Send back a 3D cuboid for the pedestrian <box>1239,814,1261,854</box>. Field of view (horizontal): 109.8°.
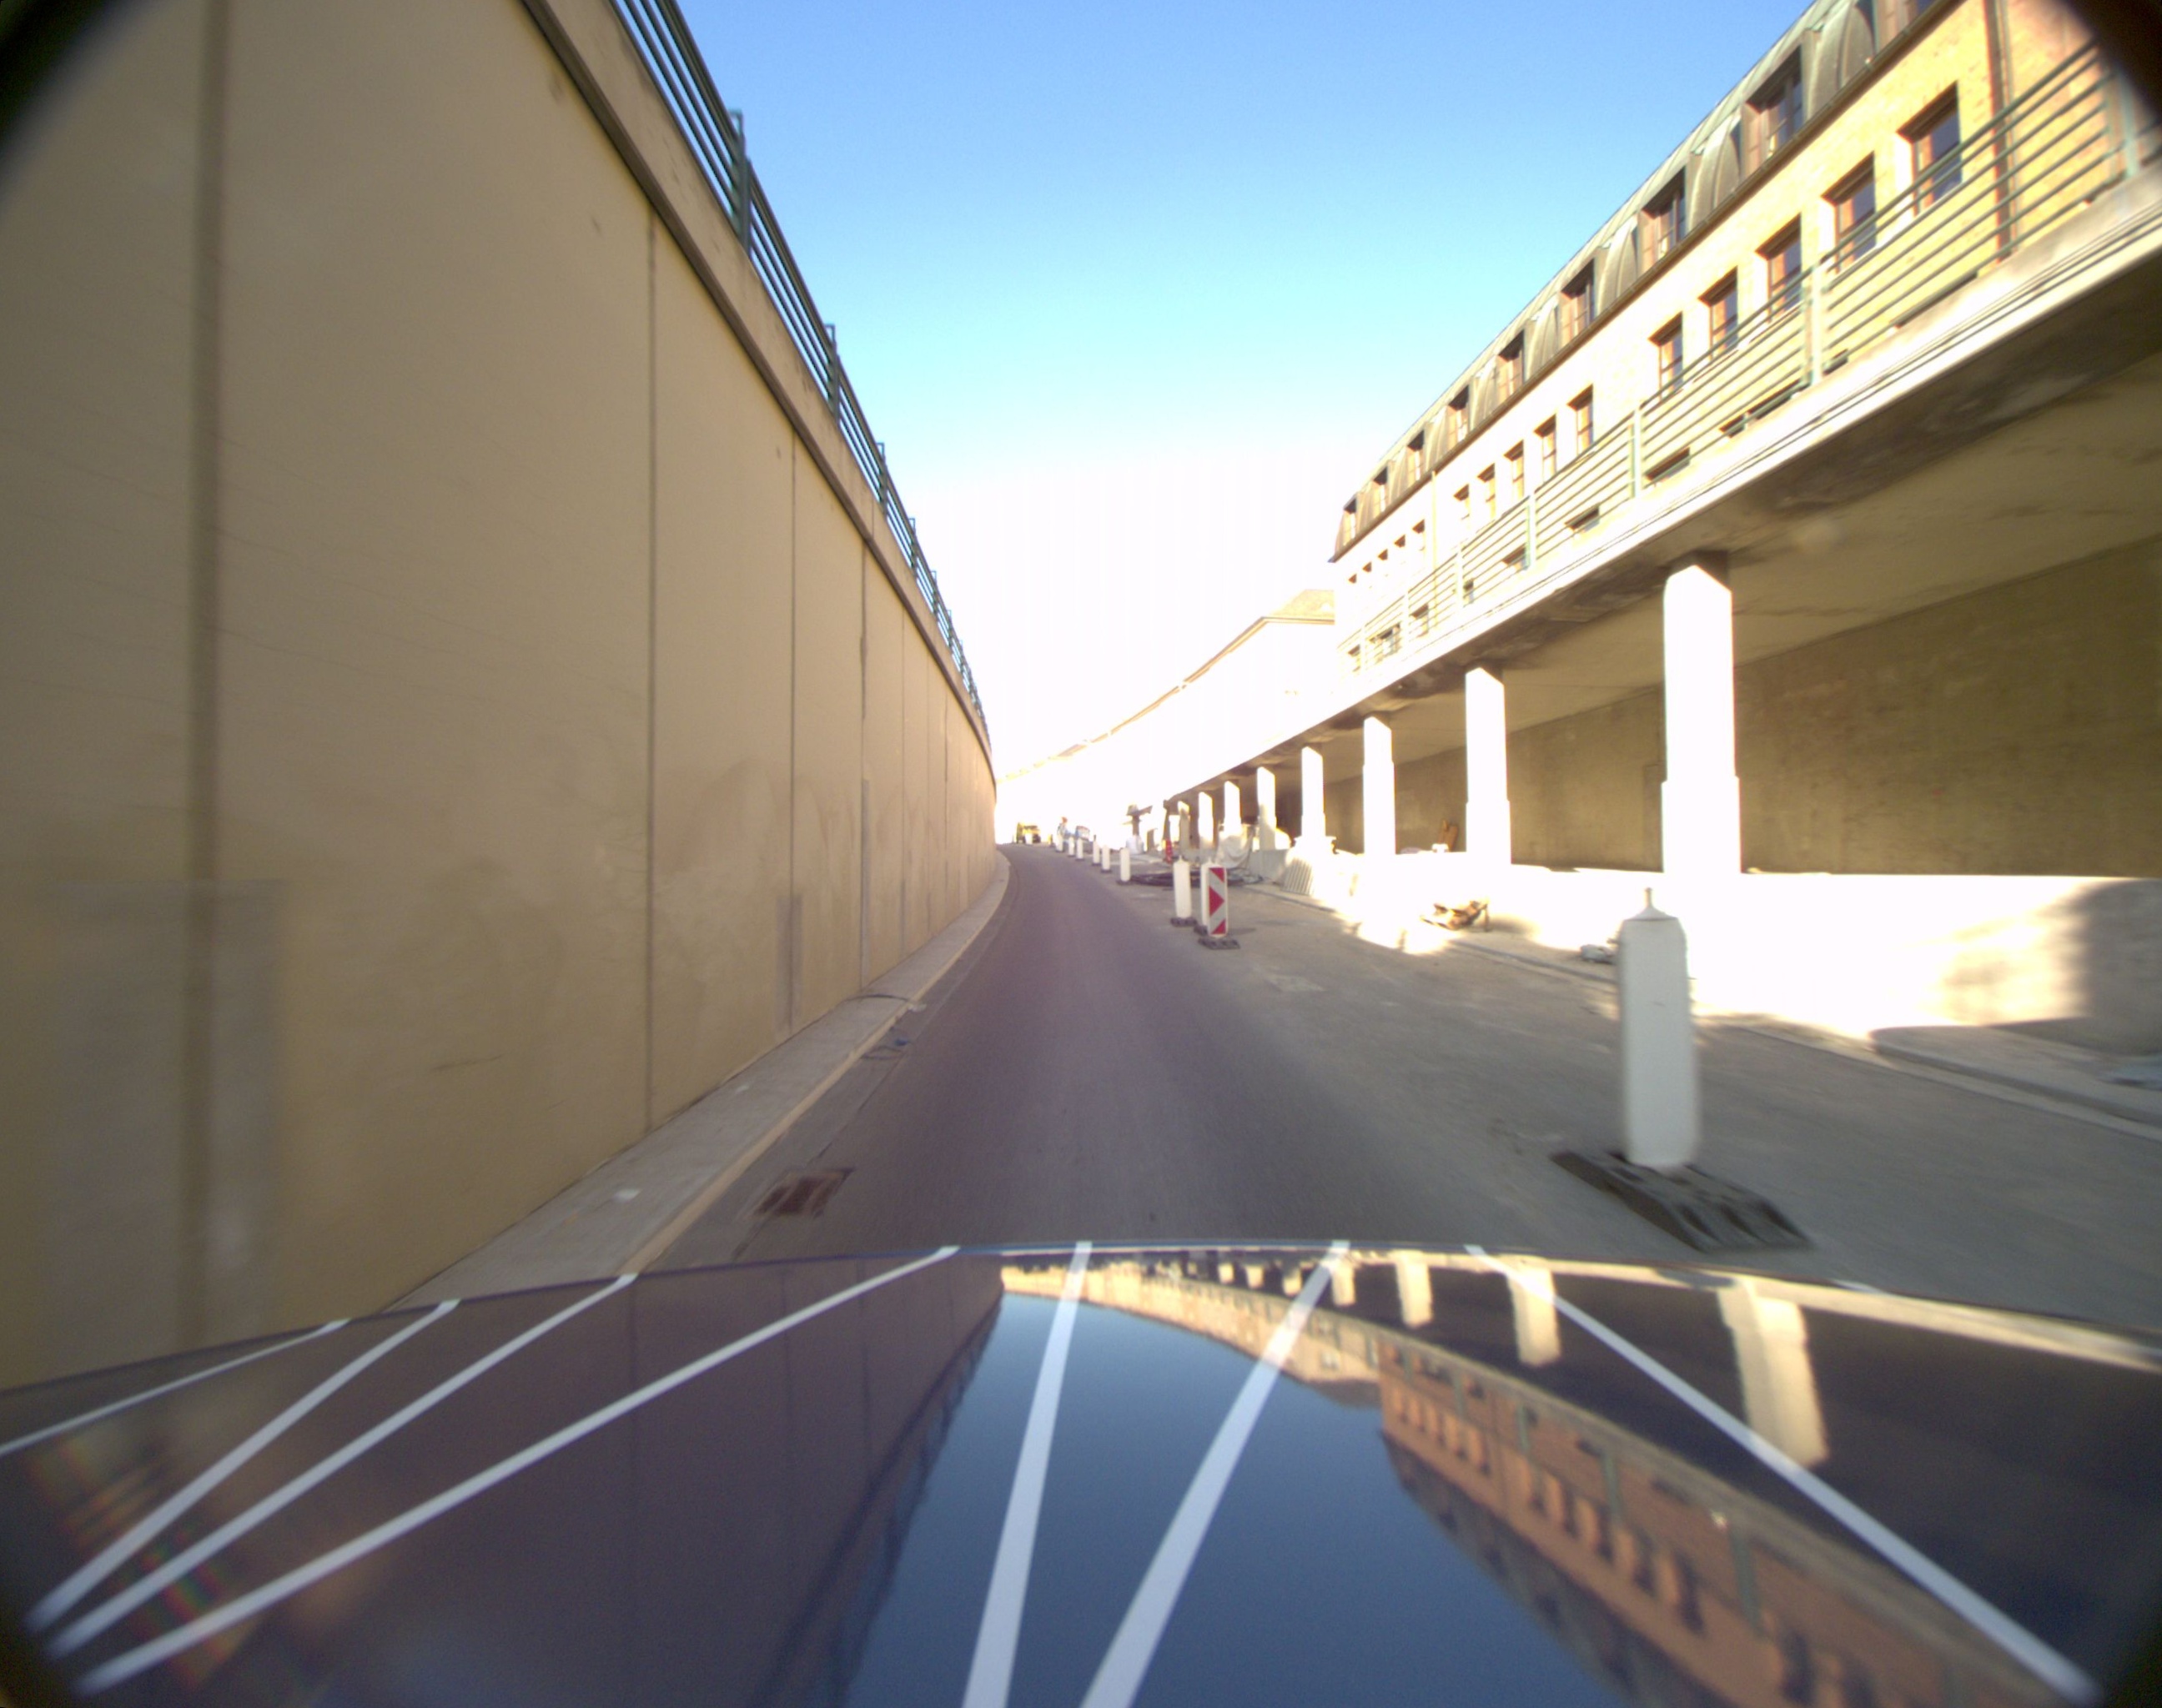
[{"bbox_3d":[7.784,-0.946,35.016,0.706,1.804,0.709,-2,3,-7],"label":"pedestrian"}]

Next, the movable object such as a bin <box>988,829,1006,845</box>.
[{"bbox_3d":[-14.195,-2.877,128.482,1.798,2.438,4.528,0,-1,-23],"label":"movable object such as a bin"}]

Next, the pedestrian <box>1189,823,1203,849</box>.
[{"bbox_3d":[7.032,-1.101,46.407,0.651,1.571,0.630,-1,3,-15],"label":"pedestrian"}]

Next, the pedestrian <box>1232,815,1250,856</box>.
[{"bbox_3d":[7.166,-0.826,34.026,0.658,1.795,0.624,-2,3,2],"label":"pedestrian"}]

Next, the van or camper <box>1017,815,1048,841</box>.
[{"bbox_3d":[-5.510,-2.899,84.816,2.201,2.598,6.814,-3,3,-13],"label":"van or camper"}]

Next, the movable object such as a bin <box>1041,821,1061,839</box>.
[{"bbox_3d":[-4.447,-3.546,112.664,2.107,2.381,4.302,1,0,-15],"label":"movable object such as a bin"}]

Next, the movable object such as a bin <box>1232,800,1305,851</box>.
[{"bbox_3d":[7.724,-1.177,31.572,1.891,1.976,3.155,-2,2,-7],"label":"movable object such as a bin"}]
